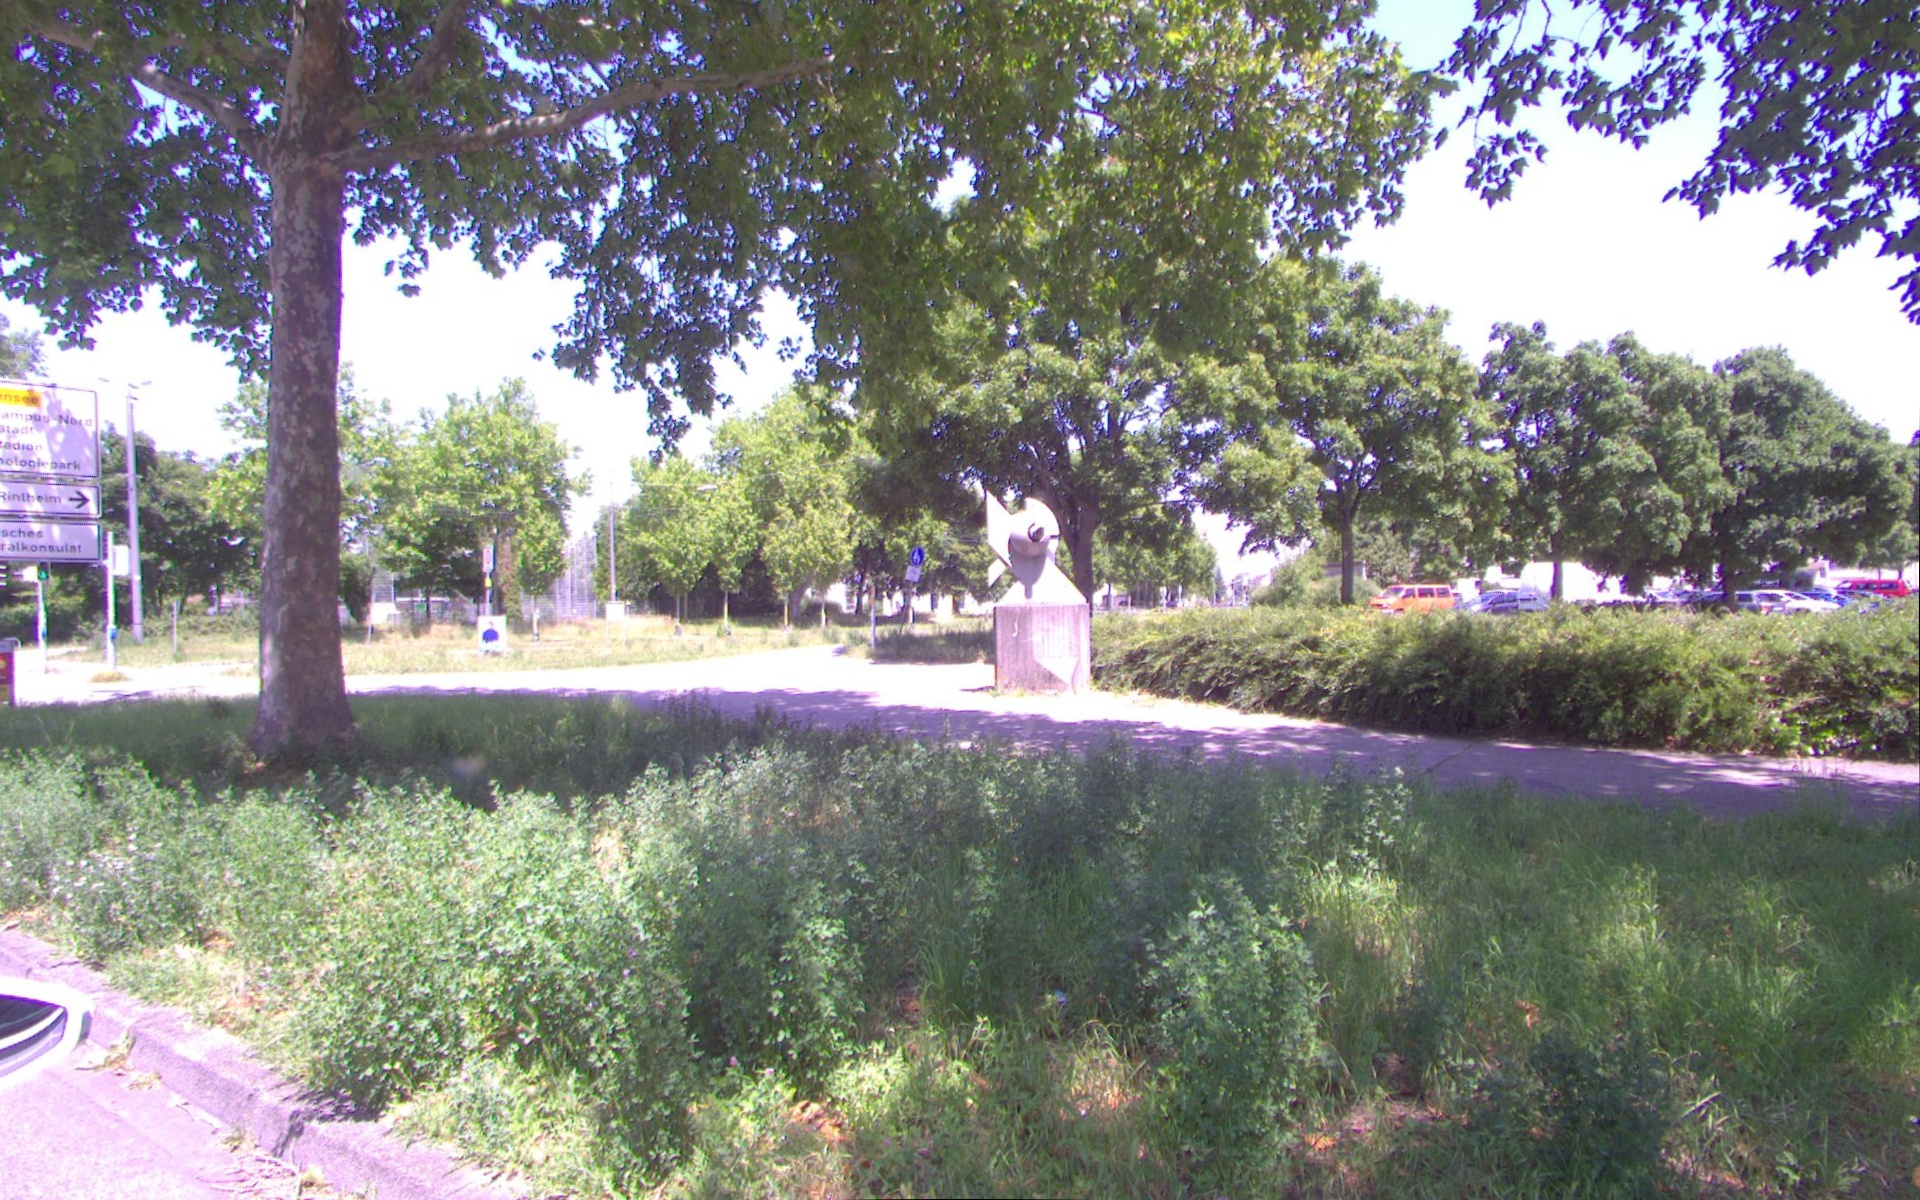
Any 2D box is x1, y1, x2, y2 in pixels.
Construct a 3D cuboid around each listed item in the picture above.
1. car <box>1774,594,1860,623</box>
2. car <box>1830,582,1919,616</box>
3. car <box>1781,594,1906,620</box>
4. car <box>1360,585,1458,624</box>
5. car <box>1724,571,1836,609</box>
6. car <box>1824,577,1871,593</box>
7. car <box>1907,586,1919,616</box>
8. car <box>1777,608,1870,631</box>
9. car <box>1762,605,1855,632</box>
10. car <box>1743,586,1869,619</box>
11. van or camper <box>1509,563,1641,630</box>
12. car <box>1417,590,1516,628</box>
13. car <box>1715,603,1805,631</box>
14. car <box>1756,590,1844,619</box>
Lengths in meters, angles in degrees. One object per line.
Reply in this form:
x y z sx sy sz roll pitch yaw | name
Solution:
35.498 0.364 41.527 0.938 1.141 2.590 -1 0 -25 | car
57.096 -0.041 62.372 1.935 2.040 3.988 0 -1 -23 | car
36.720 0.296 41.704 1.655 1.048 3.553 -1 0 -25 | car
23.848 0.226 53.233 4.582 2.029 2.069 0 0 -19 | car
46.413 -0.548 56.799 2.209 2.040 4.409 -1 0 -22 | car
92.720 -1.548 104.639 3.309 1.639 1.439 -1 0 18 | car
44.928 0.033 44.753 1.690 1.384 3.414 -1 0 -25 | car
33.553 0.762 38.941 0.938 0.852 2.590 -1 0 -25 | car
32.414 0.707 38.309 0.938 1.000 2.590 -1 0 -25 | car
34.388 0.085 40.798 1.595 1.242 3.559 0 1 -25 | car
27.009 -0.162 43.992 5.039 2.787 2.199 -1 0 -18 | van or camper
23.933 0.410 47.324 4.000 1.741 1.952 -1 0 -18 | car
30.774 0.646 38.567 0.938 1.050 2.590 -1 0 -25 | car
34.356 0.176 41.019 0.991 1.141 2.590 -1 0 -25 | car
